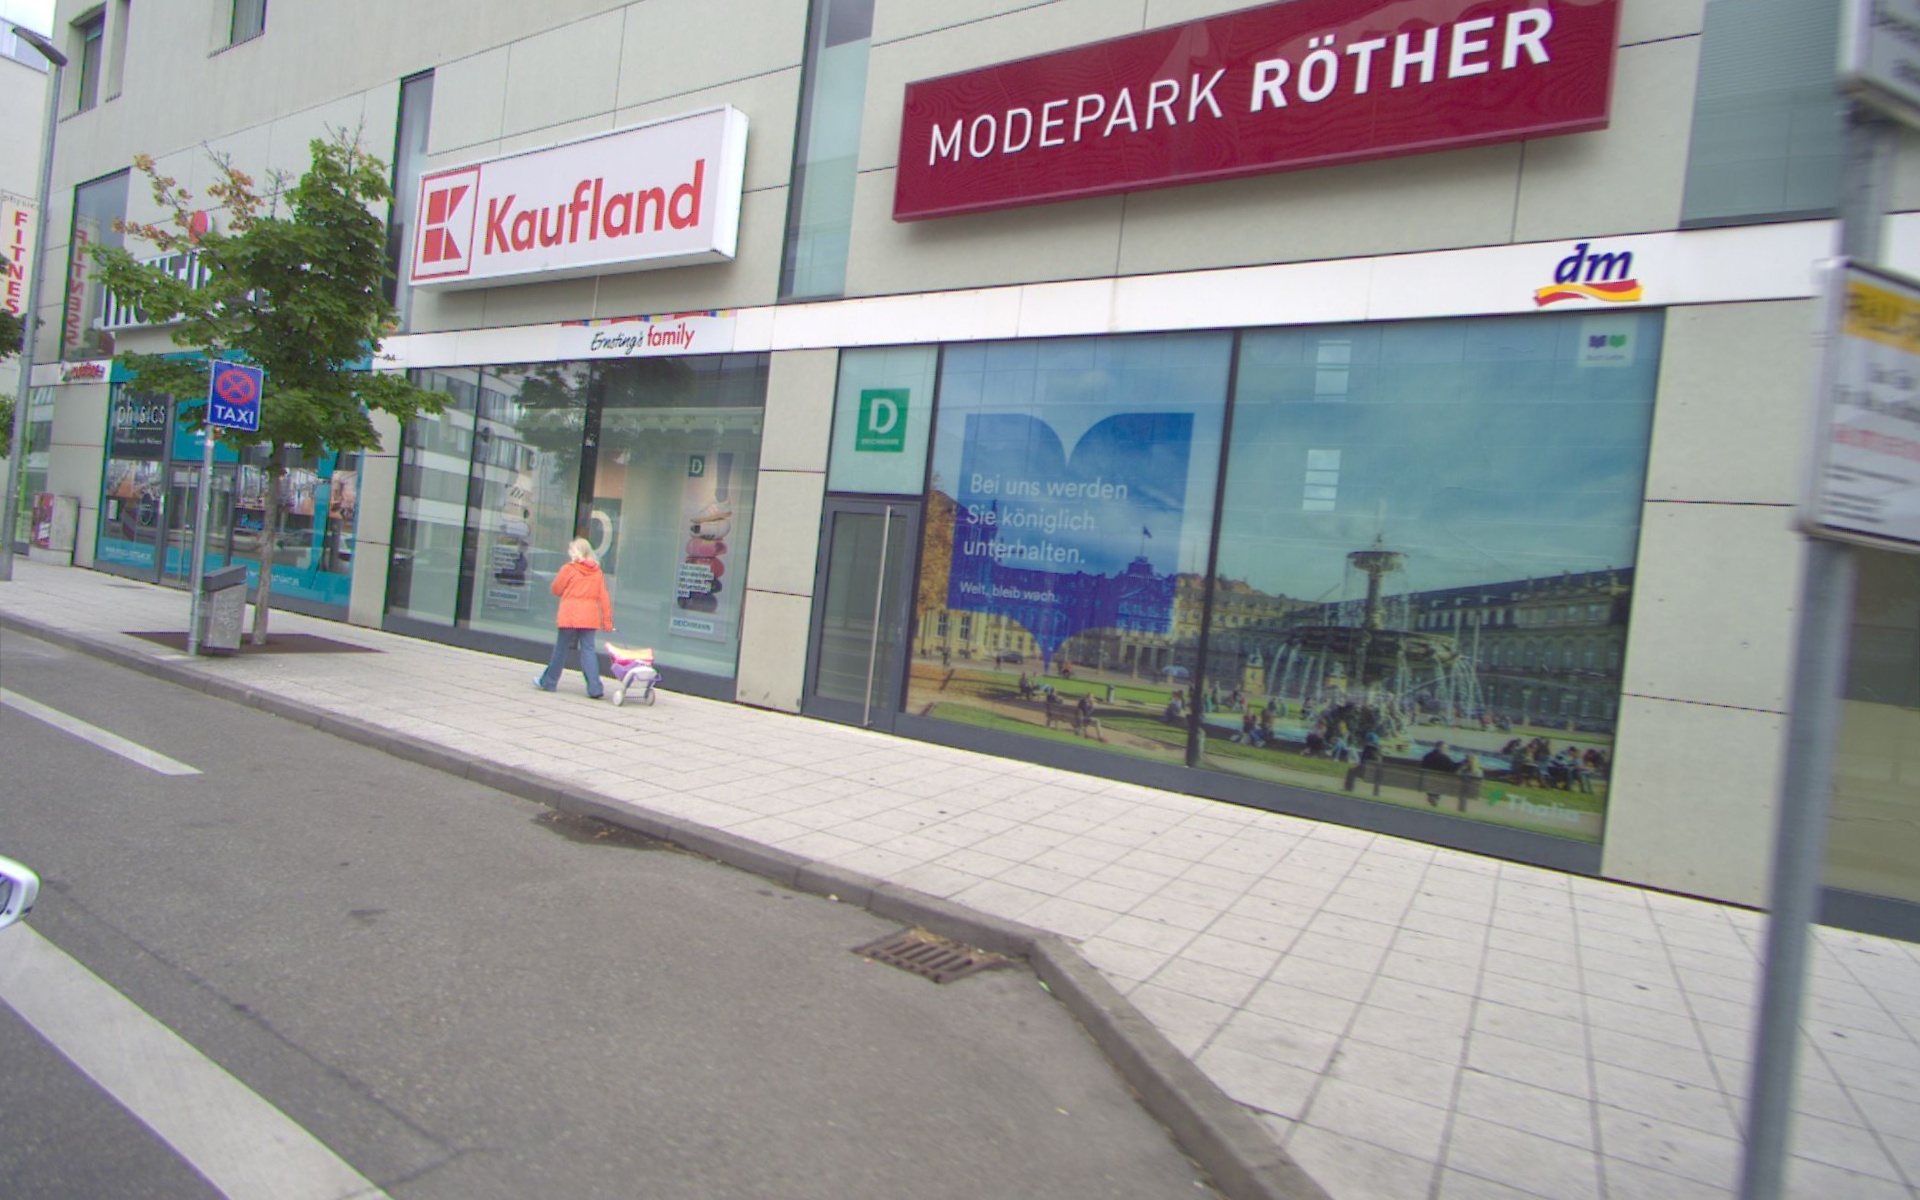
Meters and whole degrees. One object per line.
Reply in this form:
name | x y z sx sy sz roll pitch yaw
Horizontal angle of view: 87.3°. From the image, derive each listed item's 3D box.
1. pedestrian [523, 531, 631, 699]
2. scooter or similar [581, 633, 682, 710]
pedestrian | -3.867 0.147 10.158 0.720 1.588 0.589 7 2 32
scooter or similar | -3.236 0.695 9.918 0.755 0.642 0.551 7 2 32
